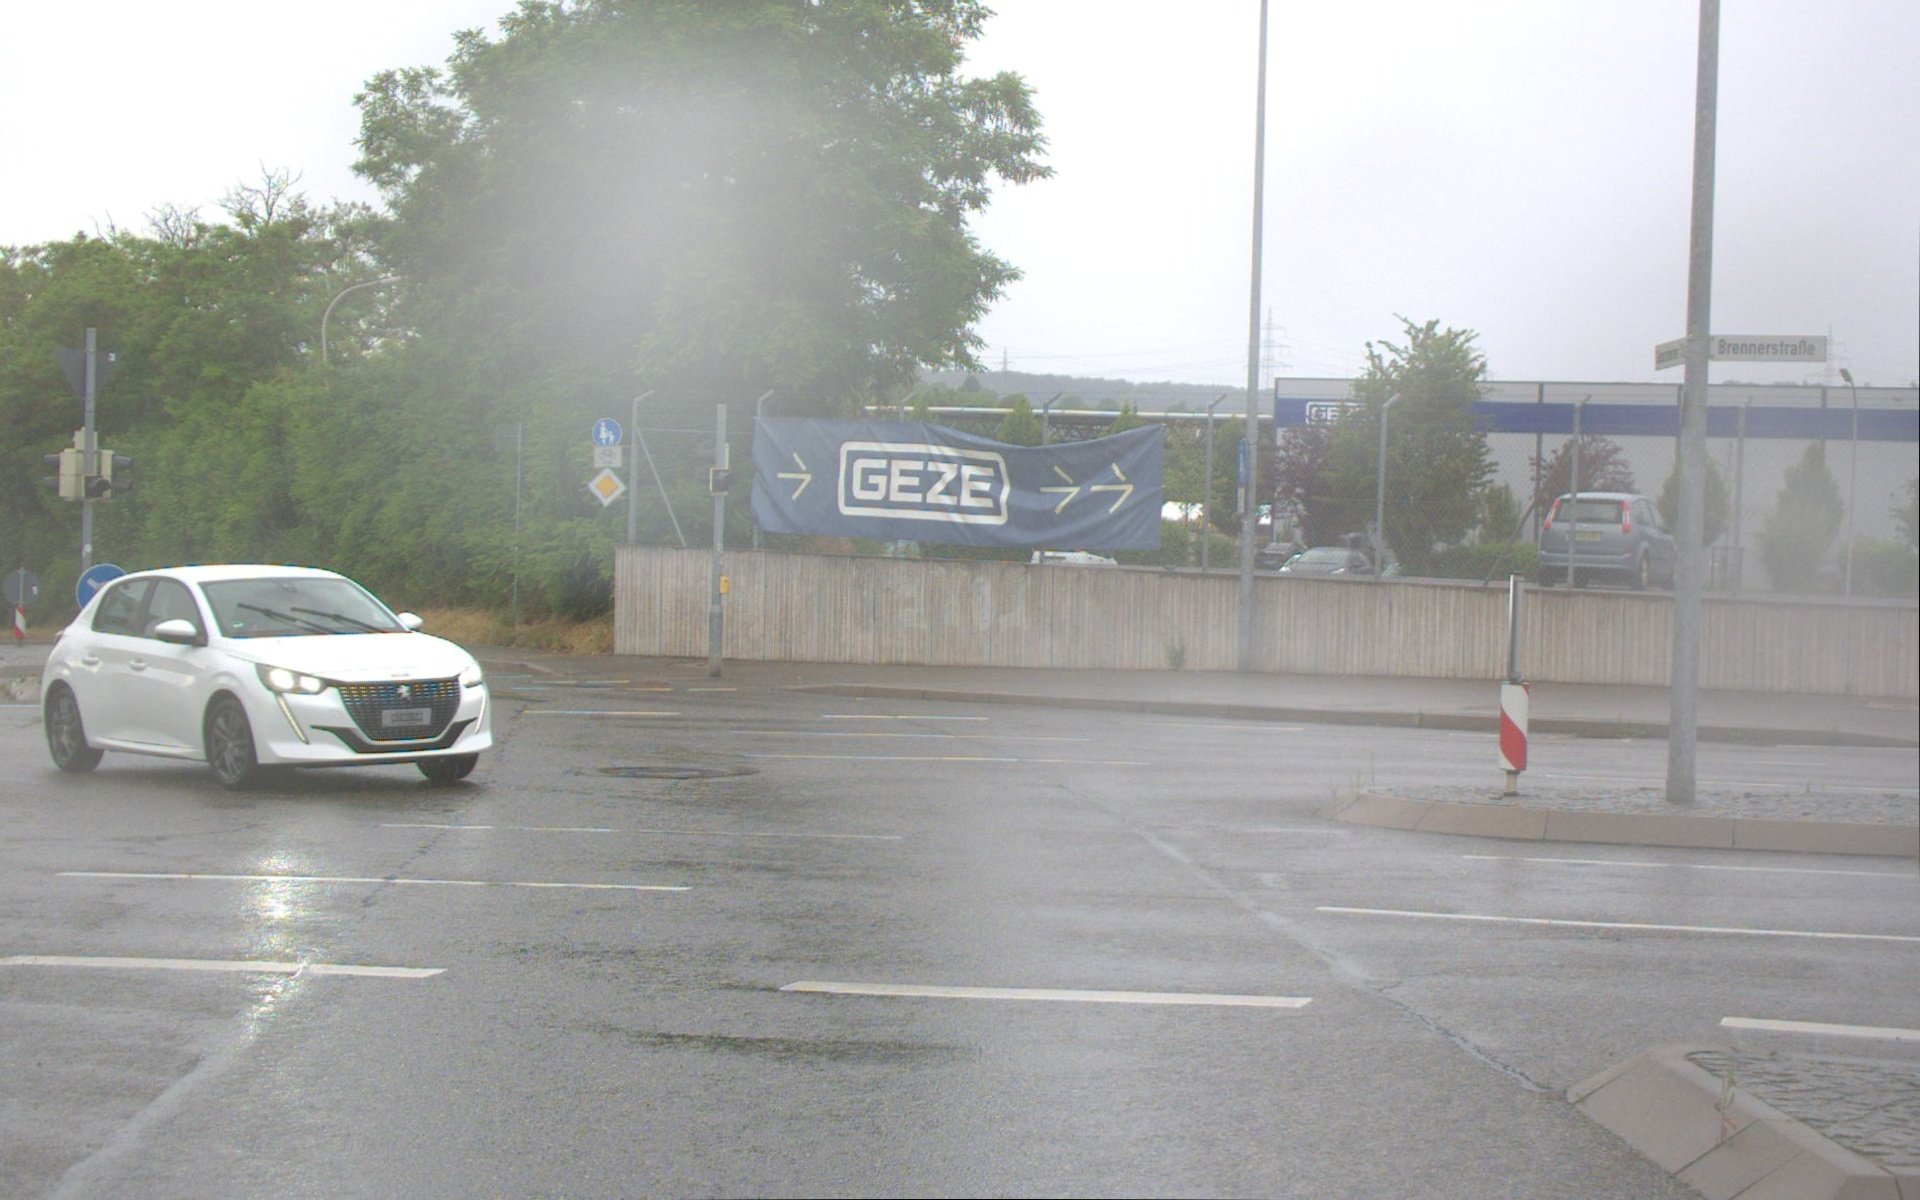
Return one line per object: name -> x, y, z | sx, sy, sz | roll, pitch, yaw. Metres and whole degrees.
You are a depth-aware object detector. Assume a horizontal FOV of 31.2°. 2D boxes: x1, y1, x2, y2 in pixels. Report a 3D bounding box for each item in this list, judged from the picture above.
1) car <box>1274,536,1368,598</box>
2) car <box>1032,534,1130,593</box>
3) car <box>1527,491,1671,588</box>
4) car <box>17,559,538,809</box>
car -> 9.742, -0.885, 92.610 | 1.668, 1.601, 3.527 | 1, 1, 21
car -> 3.388, -1.008, 95.911 | 1.668, 1.601, 3.527 | 1, 1, 21
car -> 10.705, -0.990, 57.445 | 1.744, 1.548, 3.527 | 1, 1, 21
car -> -4.682, 0.499, 23.188 | 1.865, 1.503, 3.980 | 0, 1, -37
